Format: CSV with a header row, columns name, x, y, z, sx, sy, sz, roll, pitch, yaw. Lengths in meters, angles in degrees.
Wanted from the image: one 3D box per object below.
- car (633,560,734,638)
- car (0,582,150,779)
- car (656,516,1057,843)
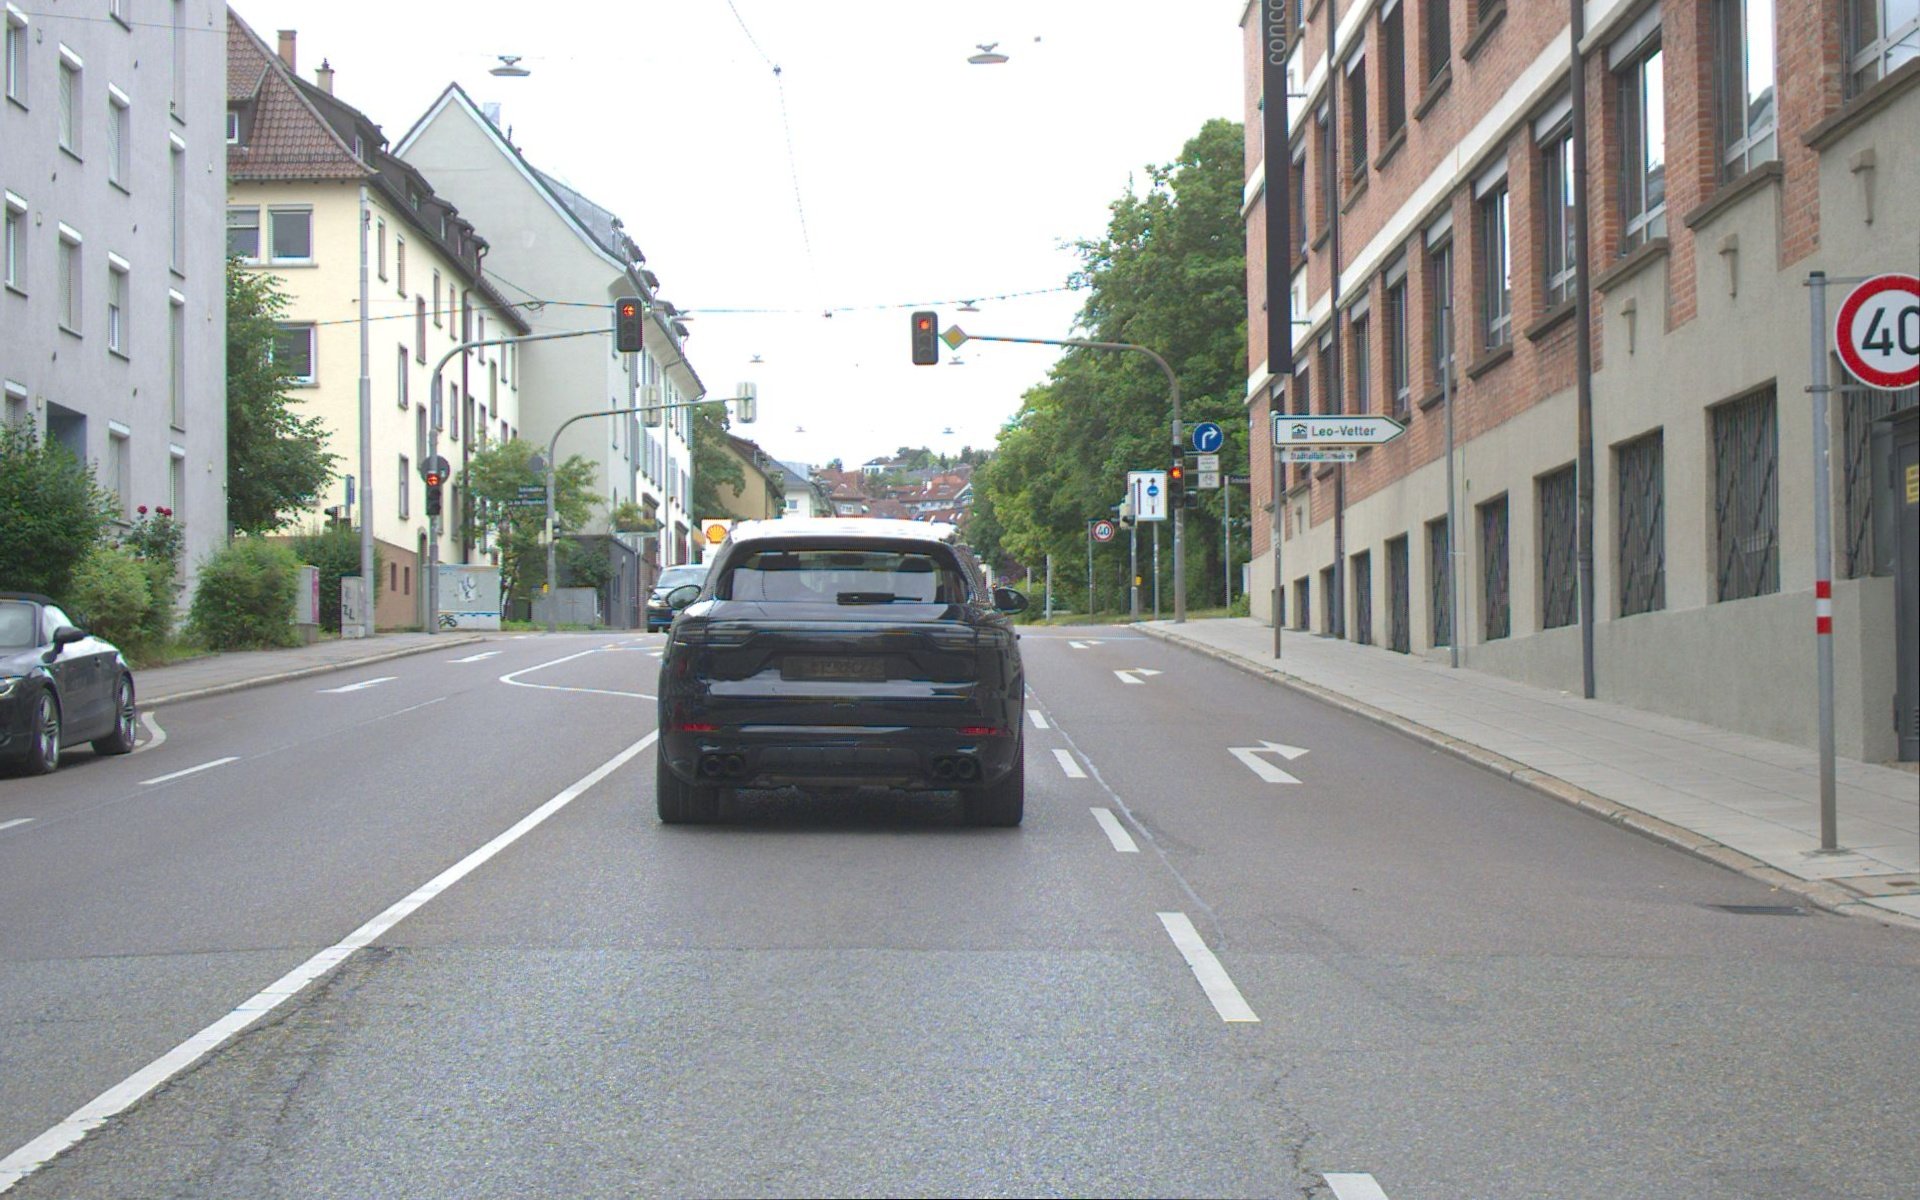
name,x,y,z,sx,sy,sz,roll,pitch,yaw
car,-6.457,-0.056,80.697,1.897,1.686,4.000,-3,1,1
car,-7.448,0.585,25.979,1.714,1.336,3.904,-2,1,-1
car,-0.693,0.385,19.794,2.023,1.636,4.356,1,1,-4
